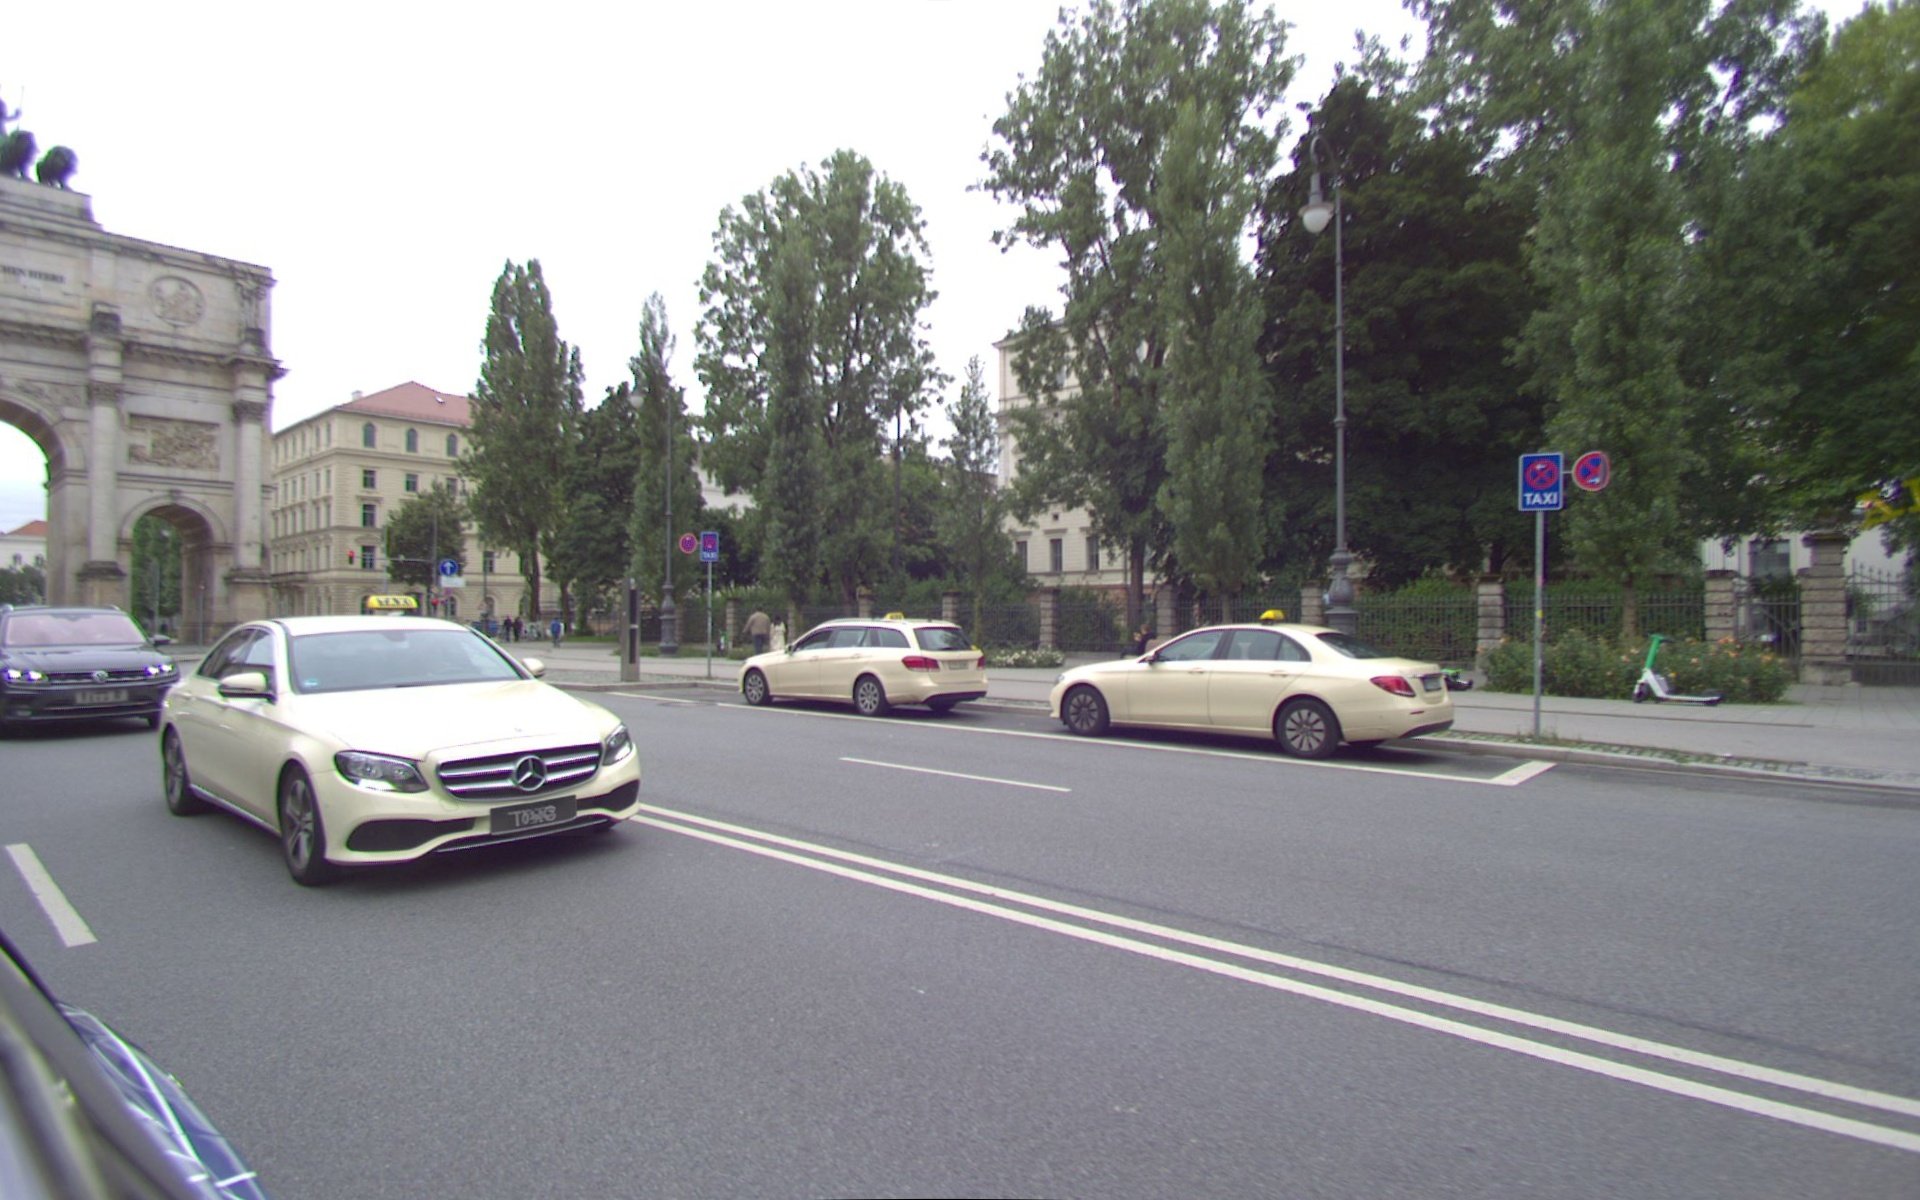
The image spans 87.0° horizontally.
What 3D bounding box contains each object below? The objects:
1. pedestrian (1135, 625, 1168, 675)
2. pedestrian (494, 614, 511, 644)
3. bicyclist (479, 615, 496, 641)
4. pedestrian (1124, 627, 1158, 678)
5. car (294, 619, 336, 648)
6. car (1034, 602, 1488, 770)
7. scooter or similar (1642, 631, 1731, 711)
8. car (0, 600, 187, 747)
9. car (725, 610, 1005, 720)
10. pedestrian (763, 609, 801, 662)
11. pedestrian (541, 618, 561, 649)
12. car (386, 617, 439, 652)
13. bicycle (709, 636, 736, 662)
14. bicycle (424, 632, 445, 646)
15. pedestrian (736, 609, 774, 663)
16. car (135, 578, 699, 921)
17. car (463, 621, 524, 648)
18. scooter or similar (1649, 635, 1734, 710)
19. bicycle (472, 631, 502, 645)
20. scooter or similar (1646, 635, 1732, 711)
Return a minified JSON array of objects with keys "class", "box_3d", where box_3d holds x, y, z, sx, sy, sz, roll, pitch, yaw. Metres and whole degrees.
[{"class":"pedestrian","box_3d":[5.273,1.359,27.859,0.832,1.347,0.574,-1,-2,15]},{"class":"pedestrian","box_3d":[-31.054,1.939,68.745,0.747,2.029,0.793,-1,-1,7]},{"class":"bicyclist","box_3d":[-31.897,1.877,68.311,0.850,1.723,0.642,0,-2,8]},{"class":"pedestrian","box_3d":[4.872,1.412,27.262,0.833,1.347,0.574,-1,-2,16]},{"class":"car","box_3d":[-39.107,2.015,61.327,1.758,1.684,4.008,1,-2,-38]},{"class":"car","box_3d":[3.441,0.873,12.280,4.964,1.637,1.917,0,-2,42]},{"class":"scooter or similar","box_3d":[11.897,1.146,16.593,1.141,1.251,0.255,-1,-2,43]},{"class":"car","box_3d":[-12.067,0.859,13.568,4.411,1.636,1.927,-1,1,42]},{"class":"car","box_3d":[-1.711,0.994,16.857,4.857,1.571,1.799,-1,-3,42]},{"class":"pedestrian","box_3d":[-5.775,1.150,32.876,0.834,1.691,0.968,1,-2,-42]},{"class":"pedestrian","box_3d":[-24.014,1.988,59.460,0.745,1.799,0.913,0,-1,7]},{"class":"car","box_3d":[-31.294,1.956,57.755,1.972,1.869,5.002,2,-2,-36]},{"class":"bicycle","box_3d":[-10.137,2.072,43.175,0.628,1.072,1.737,0,-1,4]},{"class":"bicycle","box_3d":[-36.537,2.716,70.333,1.759,0.981,0.635,-1,-2,37]},{"class":"pedestrian","box_3d":[-6.582,1.156,32.504,0.834,1.691,0.968,1,-2,-42]},{"class":"car","box_3d":[-3.968,0.700,6.967,4.687,1.587,1.895,-1,1,41]},{"class":"car","box_3d":[-36.970,2.729,80.191,1.999,2.029,3.945,-1,-2,42]},{"class":"scooter or similar","box_3d":[12.255,1.199,16.982,1.122,1.210,0.240,-1,-2,42]},{"class":"bicycle","box_3d":[-31.904,2.555,68.300,1.741,0.981,0.642,0,-1,8]},{"class":"scooter or similar","box_3d":[12.078,1.199,16.790,1.122,1.210,0.240,-1,-2,42]}]
